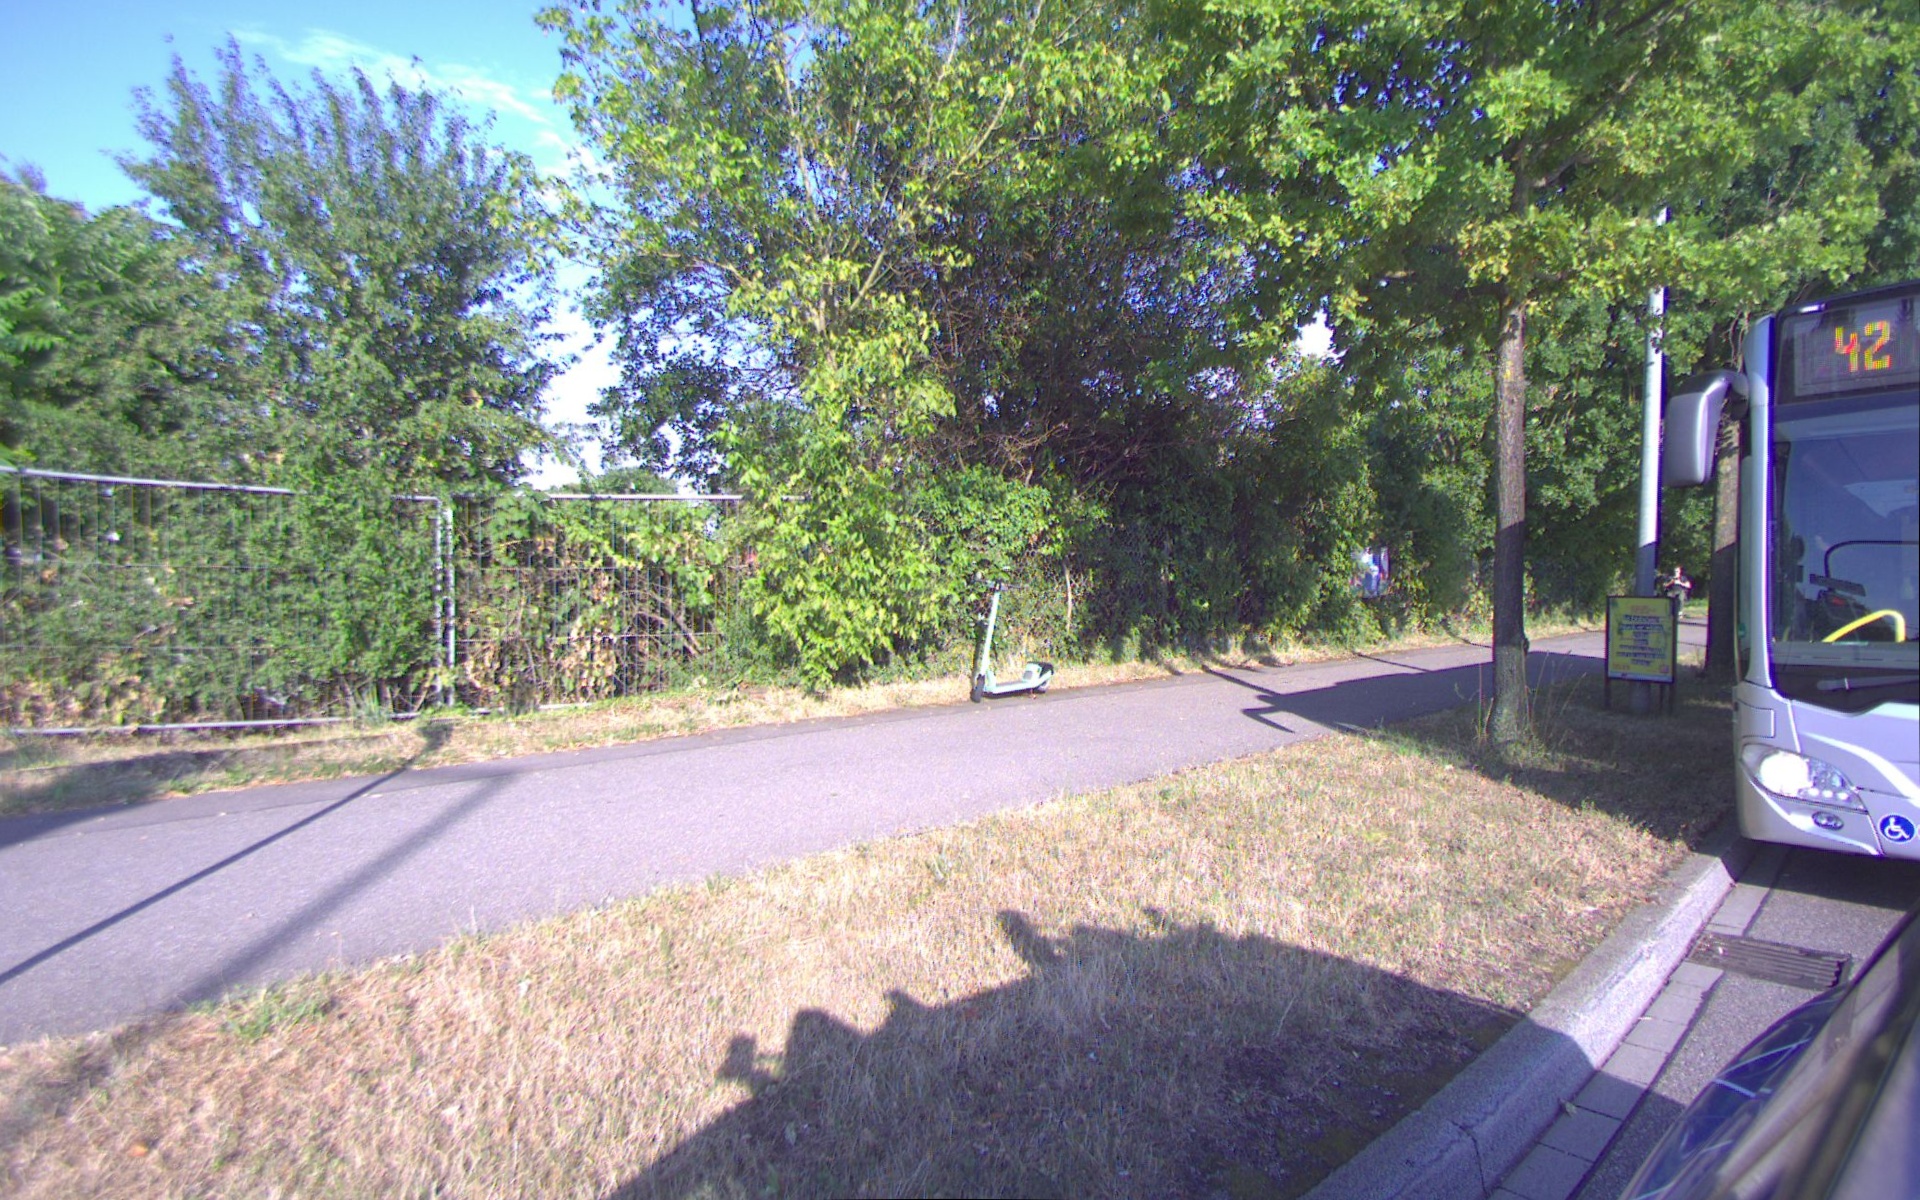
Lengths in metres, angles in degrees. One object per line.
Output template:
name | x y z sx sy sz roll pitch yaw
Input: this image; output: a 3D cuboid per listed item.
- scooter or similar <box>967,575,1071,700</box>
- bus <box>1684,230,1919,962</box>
scooter or similar | 0.579 0.341 9.784 1.076 1.139 0.249 0 4 -41
bus | 8.499 -0.041 7.937 11.526 3.081 2.590 0 1 -44
